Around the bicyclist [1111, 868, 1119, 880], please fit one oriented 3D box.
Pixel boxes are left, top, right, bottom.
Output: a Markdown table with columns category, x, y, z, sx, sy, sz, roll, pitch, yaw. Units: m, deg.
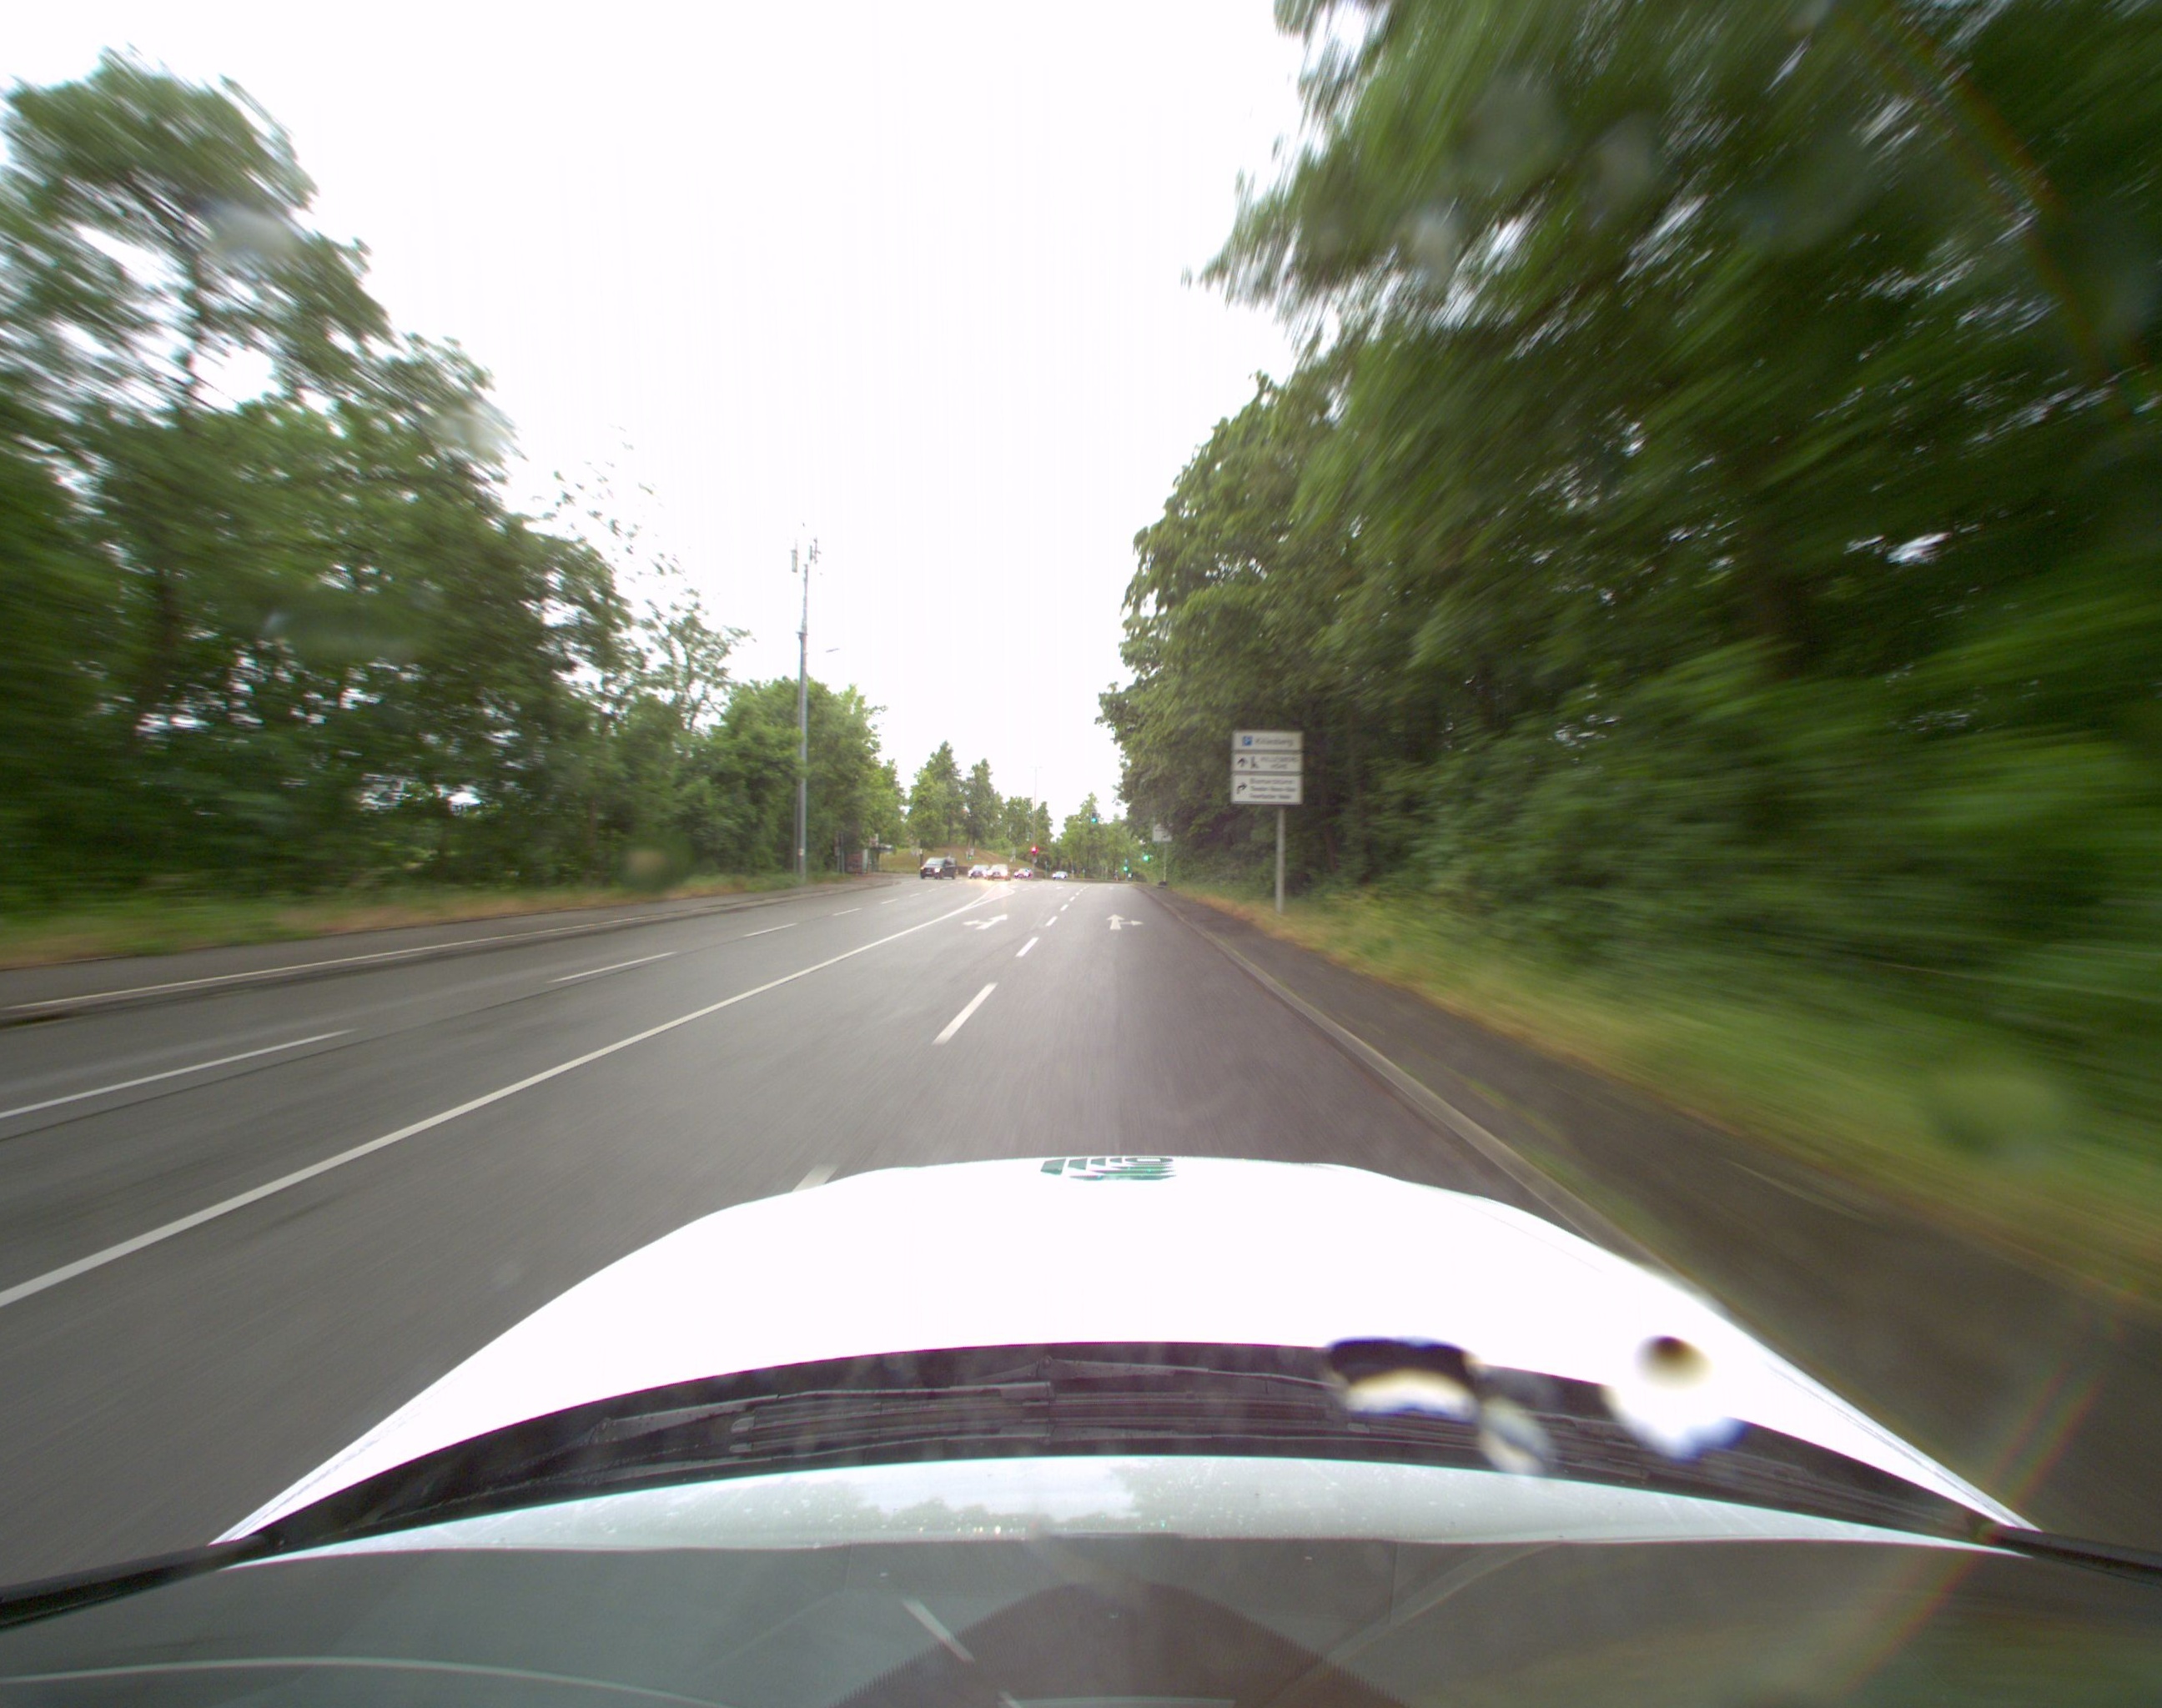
| category | x | y | z | sx | sy | sz | roll | pitch | yaw |
| --- | --- | --- | --- | --- | --- | --- | --- | --- | --- |
| bicyclist | 5.135 | 3.017 | 122.956 | 0.805 | 1.753 | 0.716 | 5 | -7 | -40 |

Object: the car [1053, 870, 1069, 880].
| category | x | y | z | sx | sy | sz | roll | pitch | yaw |
| --- | --- | --- | --- | --- | --- | --- | --- | --- | --- |
| car | -3.084 | 3.227 | 125.450 | 1.984 | 1.490 | 3.942 | -1 | -1 | 5 |

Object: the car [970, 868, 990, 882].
| category | x | y | z | sx | sy | sz | roll | pitch | yaw |
| --- | --- | --- | --- | --- | --- | --- | --- | --- | --- |
| car | -9.980 | 2.042 | 80.423 | 1.627 | 1.394 | 3.995 | 0 | -1 | -3 |

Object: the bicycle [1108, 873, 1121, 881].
| category | x | y | z | sx | sy | sz | roll | pitch | yaw |
| --- | --- | --- | --- | --- | --- | --- | --- | --- | --- |
| bicycle | 5.036 | 3.436 | 122.613 | 2.151 | 1.143 | 0.547 | 4 | -3 | -41 |

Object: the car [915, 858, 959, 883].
| category | x | y | z | sx | sy | sz | roll | pitch | yaw |
| --- | --- | --- | --- | --- | --- | --- | --- | --- | --- |
| car | -12.404 | 1.478 | 70.733 | 2.090 | 1.947 | 5.171 | 2 | -3 | 9 |

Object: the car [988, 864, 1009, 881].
| category | x | y | z | sx | sy | sz | roll | pitch | yaw |
| --- | --- | --- | --- | --- | --- | --- | --- | --- | --- |
| car | -7.291 | 1.617 | 72.361 | 1.697 | 1.427 | 4.073 | 1 | -1 | -4 |

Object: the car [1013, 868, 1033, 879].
| category | x | y | z | sx | sy | sz | roll | pitch | yaw |
| --- | --- | --- | --- | --- | --- | --- | --- | --- | --- |
| car | -7.426 | 2.474 | 104.505 | 1.866 | 1.374 | 4.392 | 0 | -1 | 6 |
